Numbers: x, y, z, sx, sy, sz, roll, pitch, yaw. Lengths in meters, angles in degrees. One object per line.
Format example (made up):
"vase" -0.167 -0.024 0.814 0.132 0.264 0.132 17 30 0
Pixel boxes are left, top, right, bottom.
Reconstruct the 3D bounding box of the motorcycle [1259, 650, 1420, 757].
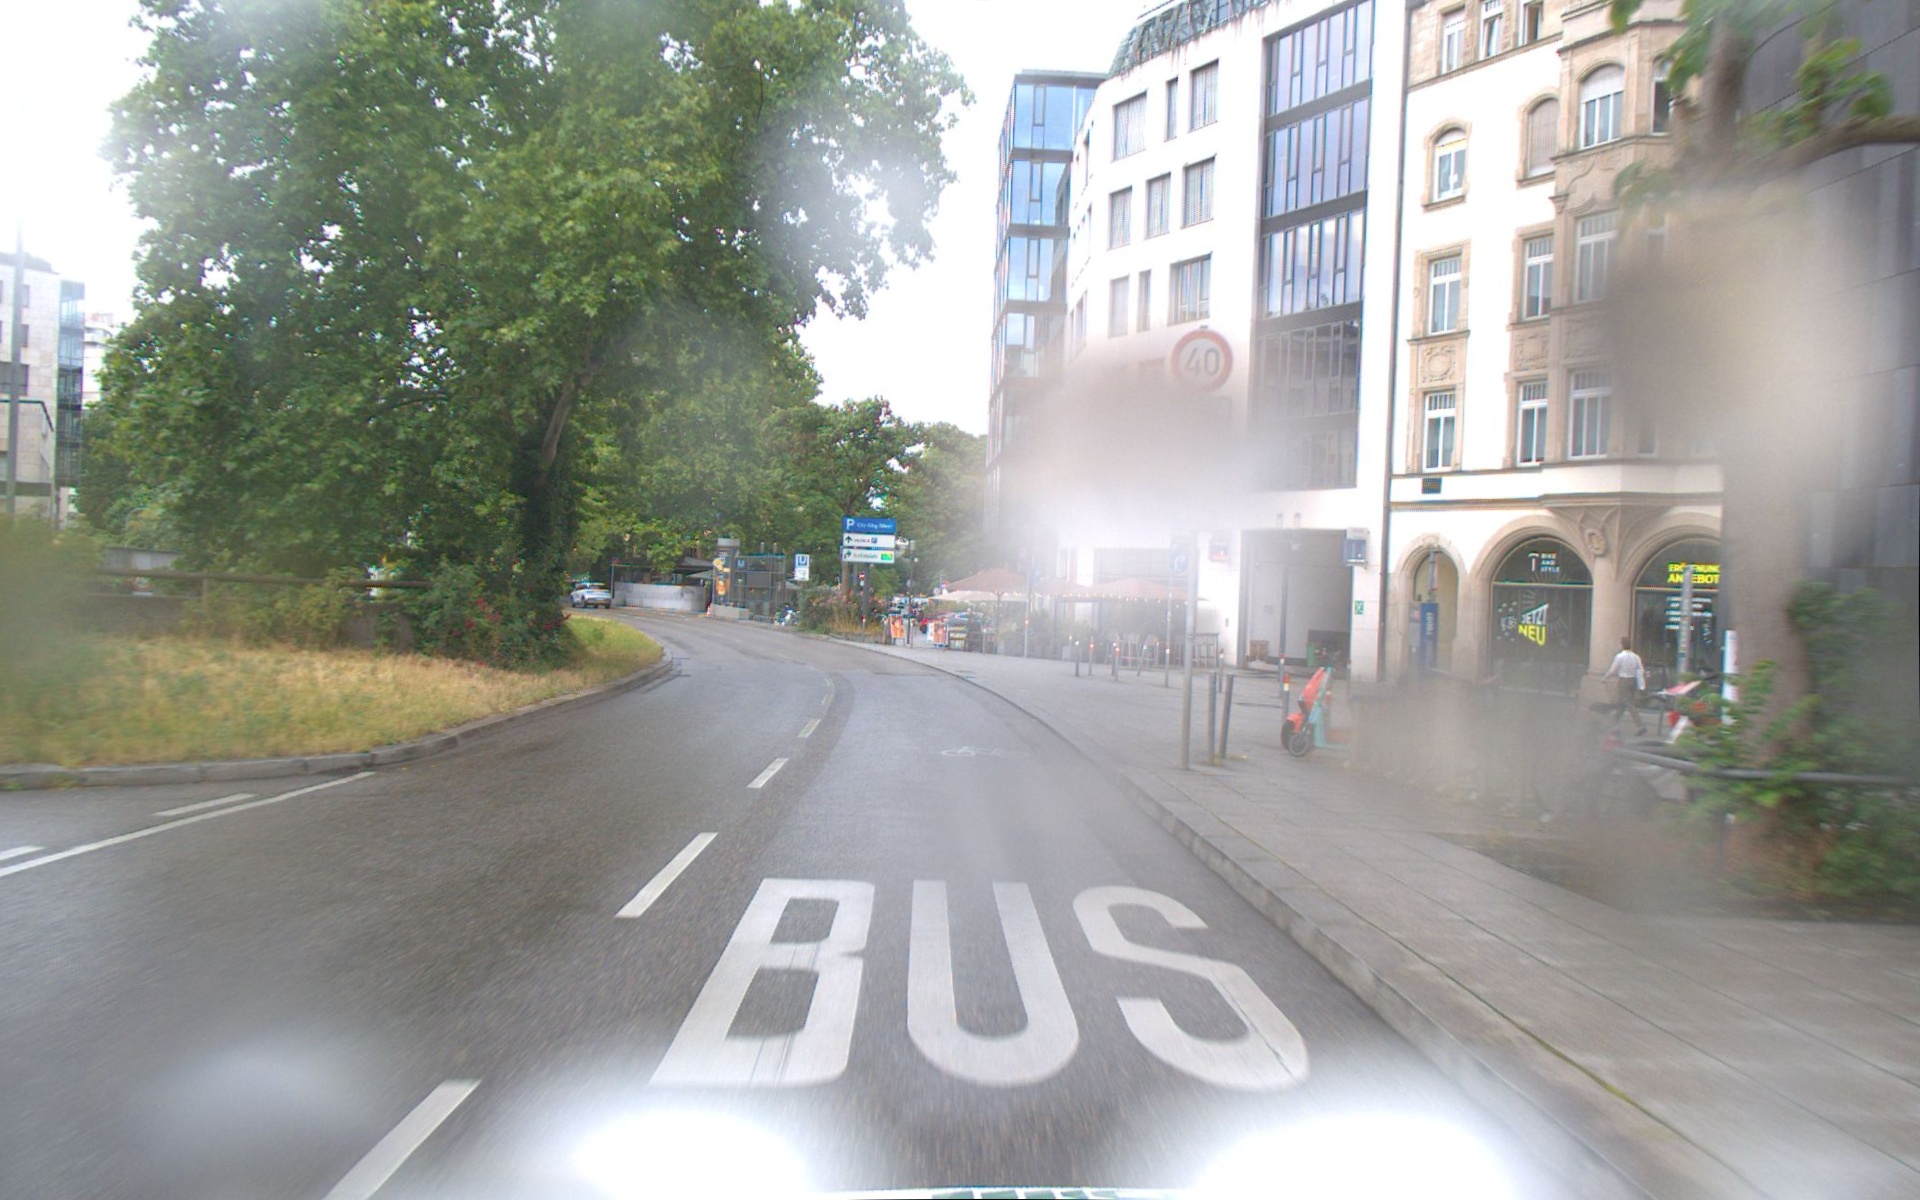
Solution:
"motorcycle" 4.579 1.246 20.003 1.758 1.159 0.595 4 -2 -7

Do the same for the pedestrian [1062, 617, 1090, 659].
"pedestrian" 3.876 1.263 55.261 0.759 1.349 0.635 5 -1 -6

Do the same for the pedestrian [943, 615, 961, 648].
"pedestrian" -0.338 1.302 68.421 0.594 1.349 0.567 5 -1 -6

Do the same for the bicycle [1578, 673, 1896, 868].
"bicycle" 4.905 1.068 10.479 1.760 1.087 0.555 4 -2 -6

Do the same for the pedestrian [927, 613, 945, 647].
"pedestrian" -0.978 1.233 68.380 0.594 1.349 0.567 5 -1 -6

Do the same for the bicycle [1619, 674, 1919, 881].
"bicycle" 4.902 1.043 9.796 1.760 1.087 0.555 4 -2 -6

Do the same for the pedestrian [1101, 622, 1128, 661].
"pedestrian" 5.567 1.505 59.621 0.619 1.349 0.630 5 -1 -26

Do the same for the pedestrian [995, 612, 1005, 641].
"pedestrian" 2.031 1.351 84.583 0.426 1.428 0.478 2 -1 -3

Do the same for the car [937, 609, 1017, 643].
"car" 0.996 1.577 99.286 4.640 1.720 2.004 3 0 -2

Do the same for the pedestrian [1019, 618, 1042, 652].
"pedestrian" 2.996 1.487 70.364 0.801 1.349 0.635 5 -1 -6

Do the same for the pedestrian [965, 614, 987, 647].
"pedestrian" 0.684 1.302 70.385 0.801 1.349 0.635 5 -1 -6

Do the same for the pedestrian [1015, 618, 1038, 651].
"pedestrian" 2.867 1.505 71.274 0.801 1.349 0.635 5 -1 -6

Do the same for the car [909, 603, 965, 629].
"car" -1.483 1.033 107.244 3.471 1.440 1.602 4 -1 45

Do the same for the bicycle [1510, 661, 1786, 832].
"bicycle" 5.097 1.078 12.295 1.760 1.127 0.669 4 -2 -7

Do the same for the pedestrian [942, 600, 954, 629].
"pedestrian" -0.835 0.996 114.178 0.611 1.967 0.788 3 -1 5

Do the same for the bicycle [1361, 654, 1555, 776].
"bicycle" 5.141 1.183 17.124 1.760 1.127 0.669 4 -2 -7

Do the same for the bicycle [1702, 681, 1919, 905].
"bicycle" 4.978 1.041 8.860 1.760 1.087 0.555 4 -2 -6

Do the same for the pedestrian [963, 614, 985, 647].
"pedestrian" 0.605 1.312 71.128 0.801 1.349 0.635 5 -1 -6

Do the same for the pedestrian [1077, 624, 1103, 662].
"pedestrian" 4.851 1.587 61.677 0.619 1.349 0.630 5 -1 -26

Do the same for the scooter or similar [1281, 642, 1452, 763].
"scooter or similar" 4.671 1.175 19.025 1.758 1.265 0.595 4 -2 -7

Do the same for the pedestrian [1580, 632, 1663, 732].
"pedestrian" 13.058 1.604 32.680 0.857 1.869 1.244 4 -2 -15

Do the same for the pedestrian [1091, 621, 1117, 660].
"pedestrian" 5.249 1.476 60.421 0.619 1.349 0.630 5 -1 -26

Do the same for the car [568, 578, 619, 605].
"car" -24.200 -0.579 109.050 1.928 1.695 4.299 3 -1 -31

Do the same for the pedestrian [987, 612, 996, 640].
"pedestrian" 1.604 1.334 84.170 0.426 1.428 0.478 2 -1 -3
